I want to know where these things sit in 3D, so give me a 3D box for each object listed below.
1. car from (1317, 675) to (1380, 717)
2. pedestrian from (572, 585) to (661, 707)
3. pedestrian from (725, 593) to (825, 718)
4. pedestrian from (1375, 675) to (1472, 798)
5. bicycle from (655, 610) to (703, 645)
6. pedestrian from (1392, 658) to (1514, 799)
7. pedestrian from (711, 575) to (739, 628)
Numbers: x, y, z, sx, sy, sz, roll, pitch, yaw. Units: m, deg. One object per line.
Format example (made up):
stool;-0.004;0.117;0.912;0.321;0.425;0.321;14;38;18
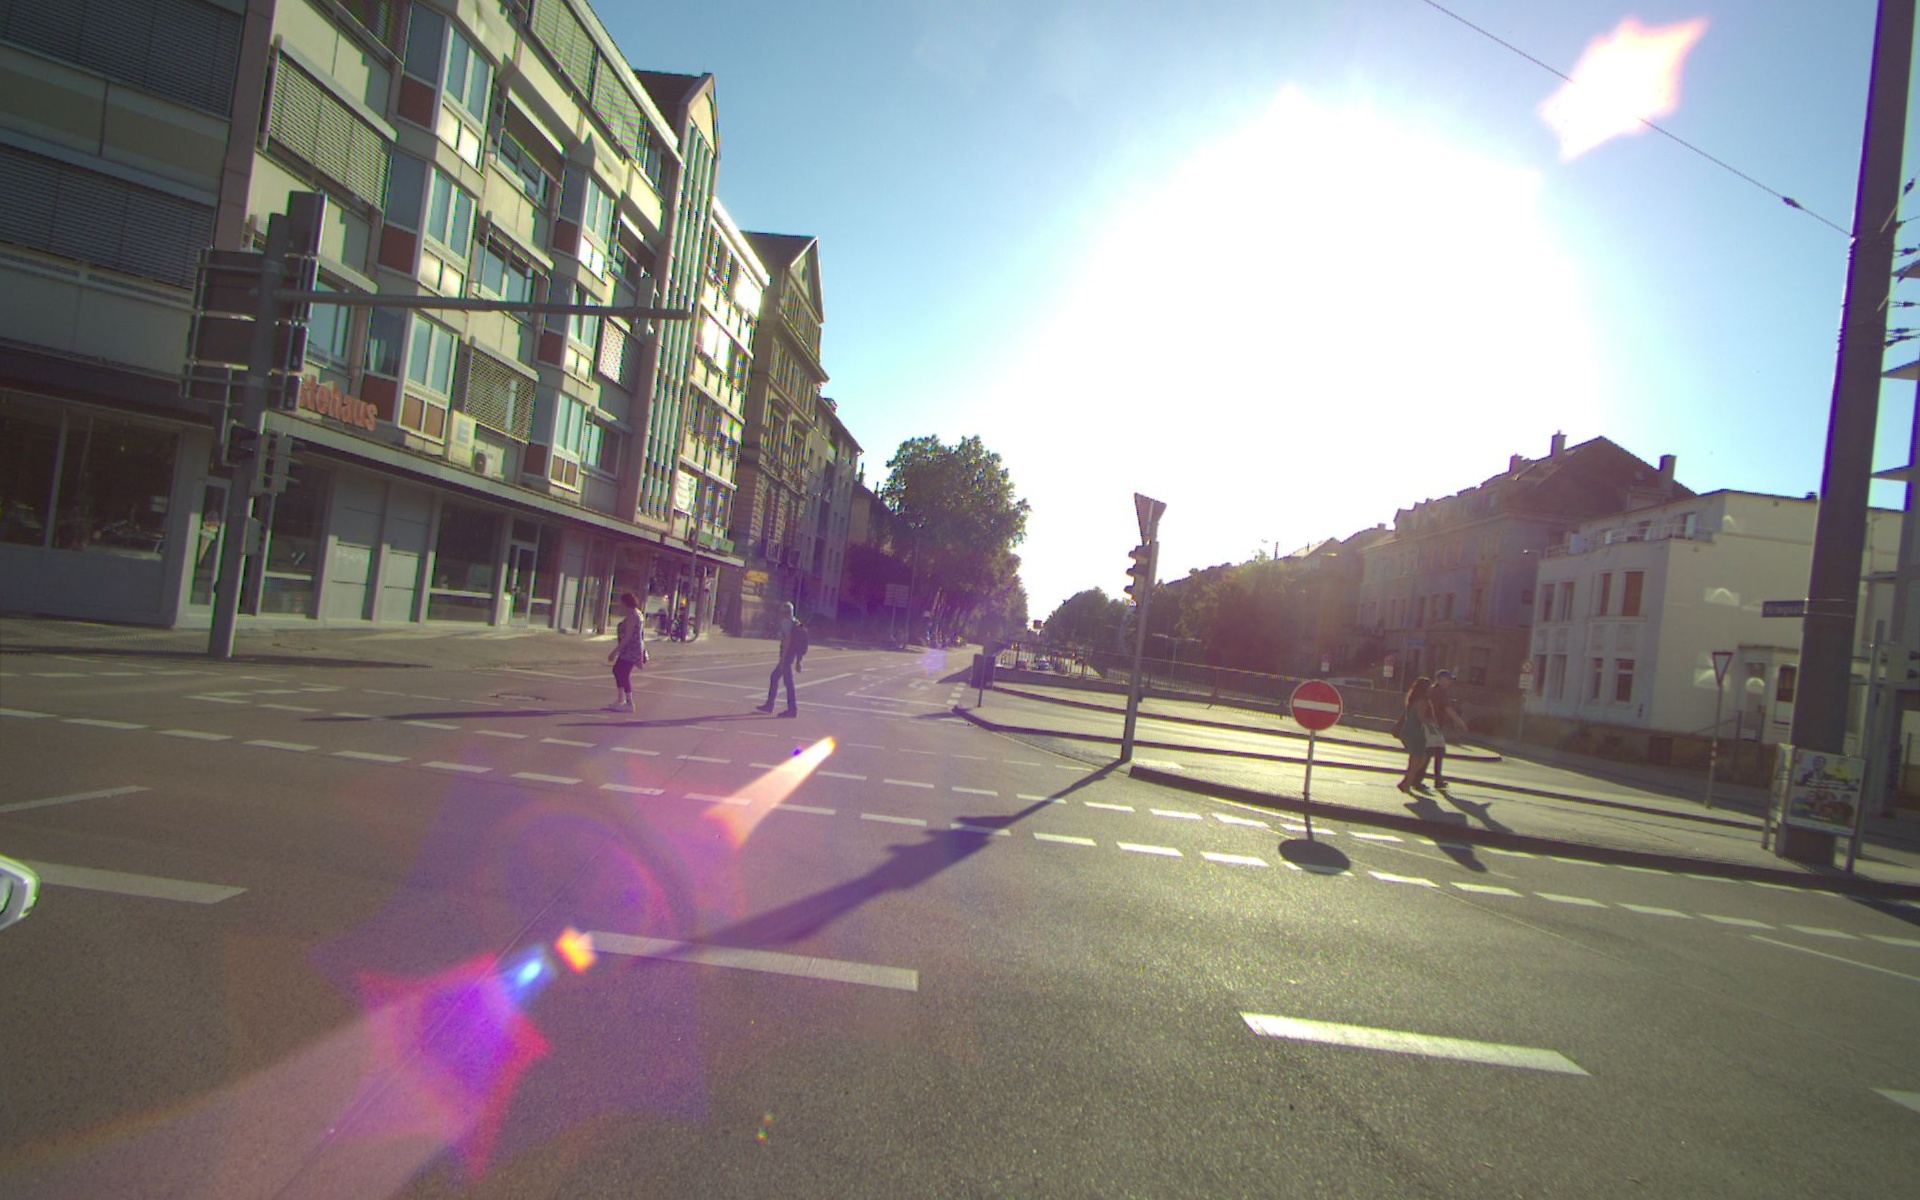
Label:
car;25.252;6.212;65.616;2.250;2.196;4.840;9;-2;5
pedestrian;-4.620;0.630;13.529;0.847;1.478;0.683;10;-6;-26
pedestrian;-2.886;0.869;15.846;1.177;1.750;0.856;9;-1;-2
pedestrian;6.198;1.805;13.493;0.694;1.469;0.856;9;-1;-2
bicycle;-10.276;1.016;36.864;0.444;1.082;2.095;9;-2;20
pedestrian;7.518;1.937;15.397;1.177;1.905;0.856;9;-1;-2
pedestrian;-11.448;0.067;49.061;0.914;2.425;0.960;9;-1;-8
